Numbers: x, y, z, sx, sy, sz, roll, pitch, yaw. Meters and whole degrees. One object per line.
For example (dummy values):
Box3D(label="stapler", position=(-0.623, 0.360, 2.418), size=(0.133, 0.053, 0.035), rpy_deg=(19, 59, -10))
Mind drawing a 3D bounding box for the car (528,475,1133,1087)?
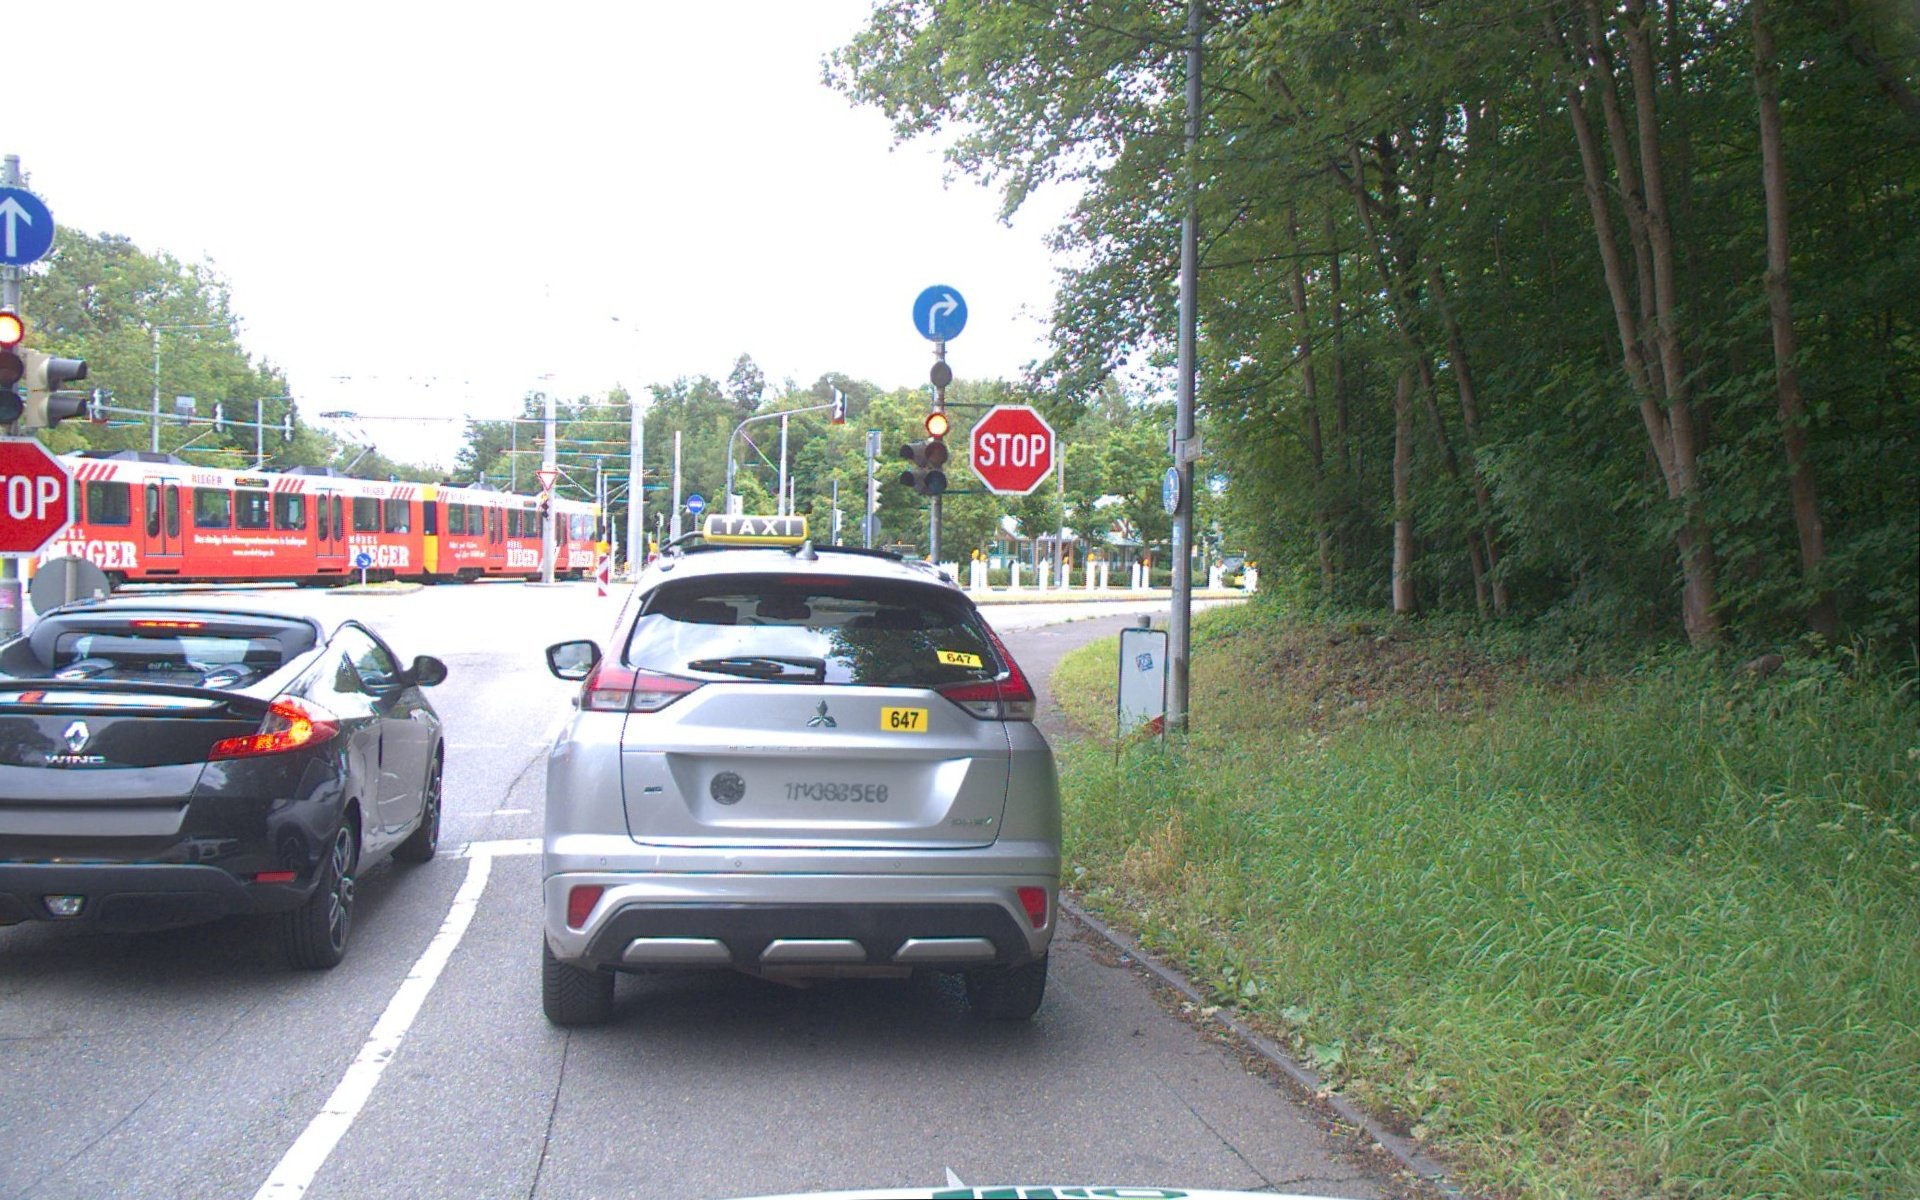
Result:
Box3D(label="car", position=(-0.651, 0.521, 6.808), size=(1.741, 1.778, 3.773), rpy_deg=(2, 1, -9))

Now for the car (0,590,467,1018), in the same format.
Box3D(label="car", position=(-3.328, 0.679, 7.311), size=(1.741, 1.385, 3.469), rpy_deg=(0, 1, -9))

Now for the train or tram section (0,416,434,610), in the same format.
Box3D(label="train or tram section", position=(-21.789, -2.020, 47.987), size=(2.893, 4.496, 18.743), rpy_deg=(1, 0, 14))

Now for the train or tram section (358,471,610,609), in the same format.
Box3D(label="train or tram section", position=(-18.458, -2.043, 66.508), size=(2.884, 4.732, 18.557), rpy_deg=(1, 0, 6))
